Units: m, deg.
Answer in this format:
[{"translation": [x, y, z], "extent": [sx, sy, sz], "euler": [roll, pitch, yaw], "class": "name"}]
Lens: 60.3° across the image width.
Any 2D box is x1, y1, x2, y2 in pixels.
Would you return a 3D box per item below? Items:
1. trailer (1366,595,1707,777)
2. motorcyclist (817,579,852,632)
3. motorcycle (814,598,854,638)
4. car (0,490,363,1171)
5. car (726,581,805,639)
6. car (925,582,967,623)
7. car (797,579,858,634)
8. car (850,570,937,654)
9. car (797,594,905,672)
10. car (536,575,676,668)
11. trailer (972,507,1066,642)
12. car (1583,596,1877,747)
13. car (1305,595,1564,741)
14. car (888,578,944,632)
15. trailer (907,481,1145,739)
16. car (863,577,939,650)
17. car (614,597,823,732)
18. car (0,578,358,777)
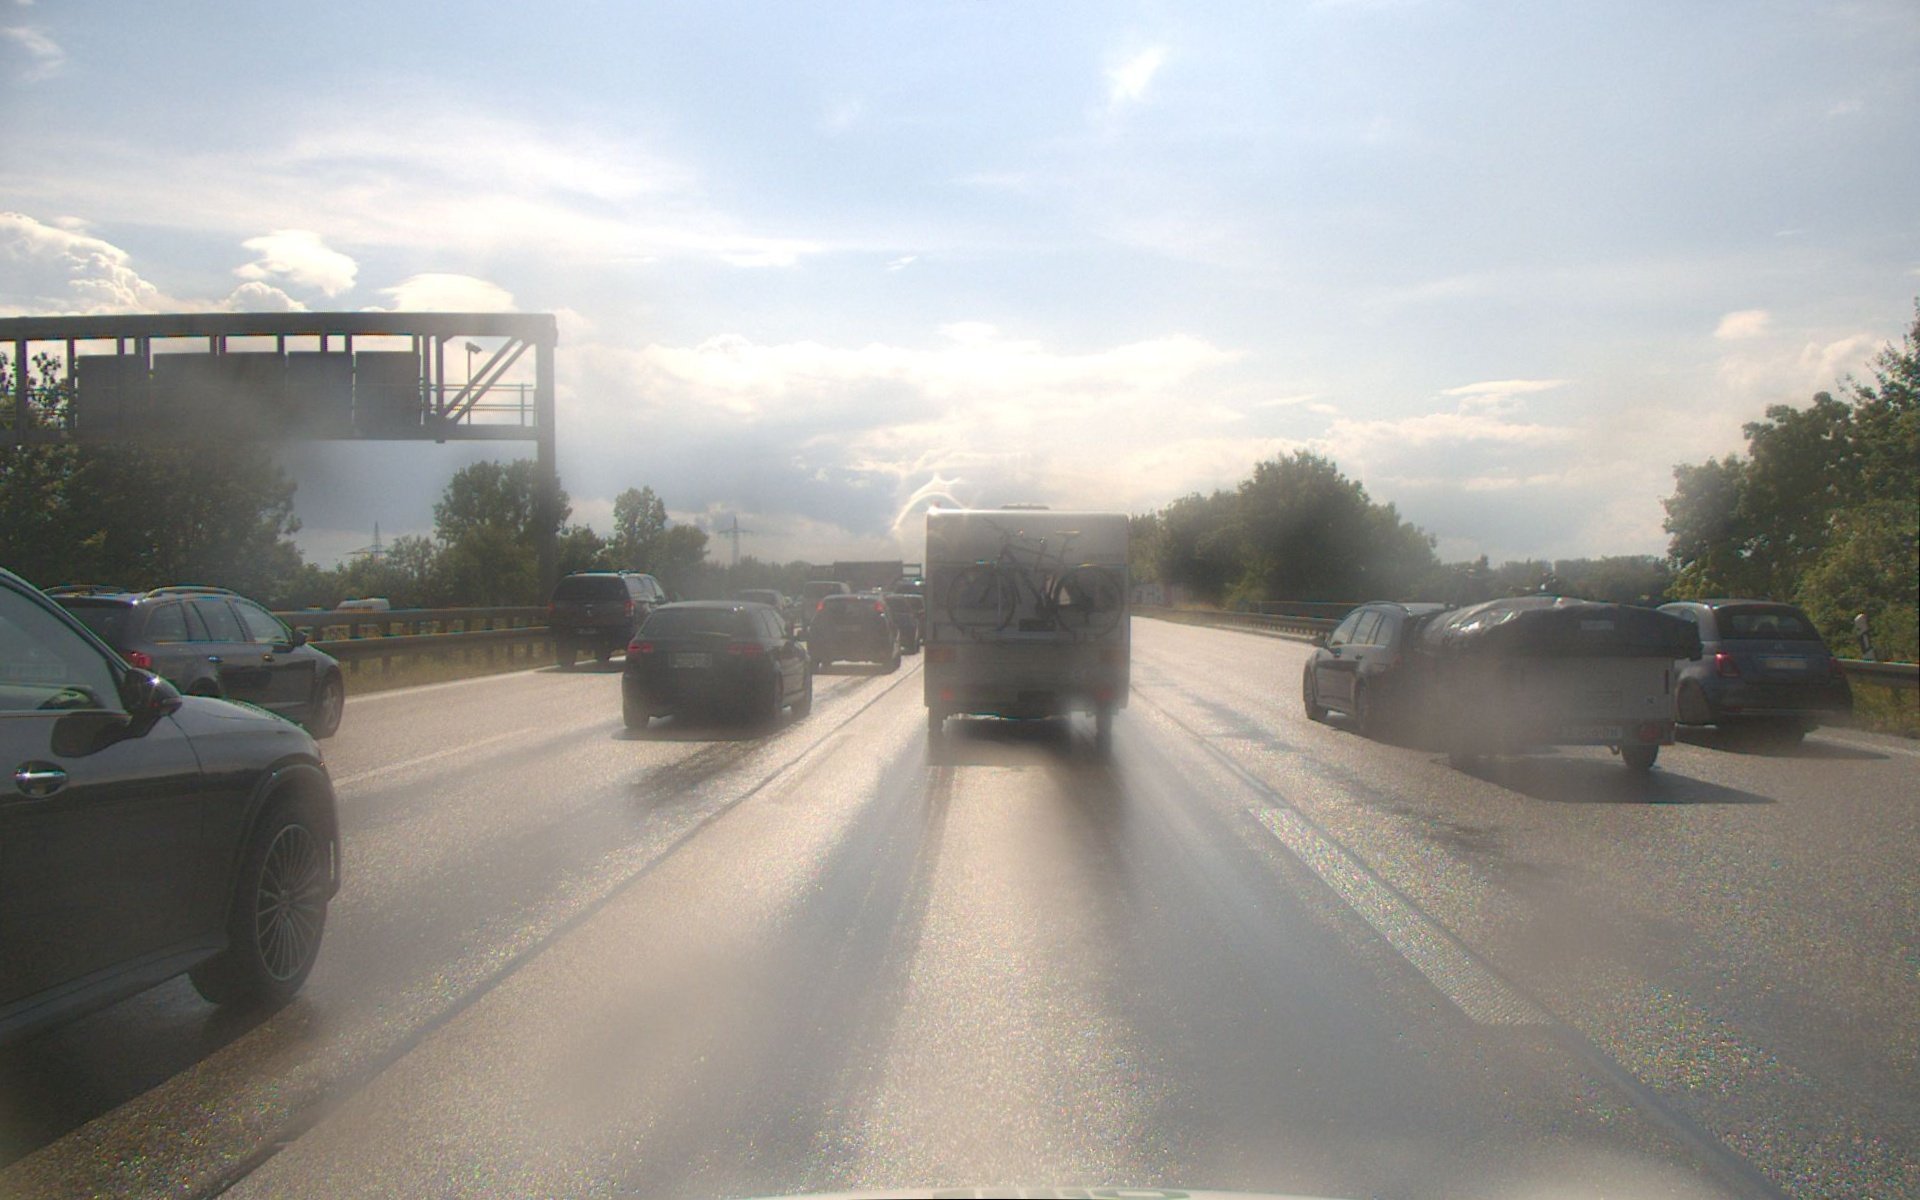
[{"translation": [5.171, 0.685, 15.440], "extent": [1.816, 1.467, 4.148], "euler": [0, 0, 1], "class": "trailer"}, {"translation": [-4.181, 0.174, 55.140], "extent": [1.042, 1.748, 0.785], "euler": [0, 0, 2], "class": "motorcyclist"}, {"translation": [-4.182, 0.574, 55.080], "extent": [1.051, 1.293, 2.691], "euler": [0, 0, 2], "class": "motorcycle"}, {"translation": [-3.354, 0.568, 4.245], "extent": [1.952, 1.690, 4.406], "euler": [0, 0, 1], "class": "car"}, {"translation": [-6.240, 0.319, 53.521], "extent": [1.952, 1.803, 4.001], "euler": [0, 0, 2], "class": "car"}, {"translation": [-0.676, 0.118, 85.112], "extent": [1.952, 2.049, 4.001], "euler": [-1, 0, 2], "class": "car"}, {"translation": [-5.414, 0.262, 68.051], "extent": [1.952, 2.048, 4.001], "euler": [4, 0, 2], "class": "car"}, {"translation": [-1.678, 0.290, 43.102], "extent": [1.952, 2.049, 4.001], "euler": [1, 0, 2], "class": "car"}, {"translation": [-2.121, 0.628, 33.193], "extent": [1.769, 1.432, 4.001], "euler": [1, 0, 1], "class": "car"}, {"translation": [-7.110, 0.419, 33.589], "extent": [1.953, 1.750, 4.000], "euler": [1, 0, 0], "class": "car"}, {"translation": [2.121, -0.818, 56.943], "extent": [2.944, 4.239, 8.539], "euler": [1, 0, 3], "class": "trailer"}, {"translation": [8.430, 0.716, 18.457], "extent": [1.637, 1.508, 3.672], "euler": [0, 0, 1], "class": "car"}, {"translation": [5.245, 0.678, 18.852], "extent": [1.816, 1.467, 4.258], "euler": [0, 0, 1], "class": "car"}, {"translation": [-1.711, 0.204, 65.129], "extent": [1.952, 2.049, 4.001], "euler": [0, 0, 2], "class": "car"}, {"translation": [0.722, 0.101, 19.660], "extent": [2.325, 2.526, 6.524], "euler": [1, 0, 1], "class": "trailer"}, {"translation": [-1.775, 0.402, 51.315], "extent": [1.952, 2.048, 4.001], "euler": [4, 0, 2], "class": "car"}, {"translation": [-2.708, 0.672, 19.372], "extent": [1.720, 1.411, 3.946], "euler": [0, 0, 2], "class": "car"}, {"translation": [-7.150, 0.594, 14.985], "extent": [1.720, 1.543, 4.210], "euler": [0, 0, 2], "class": "car"}]
